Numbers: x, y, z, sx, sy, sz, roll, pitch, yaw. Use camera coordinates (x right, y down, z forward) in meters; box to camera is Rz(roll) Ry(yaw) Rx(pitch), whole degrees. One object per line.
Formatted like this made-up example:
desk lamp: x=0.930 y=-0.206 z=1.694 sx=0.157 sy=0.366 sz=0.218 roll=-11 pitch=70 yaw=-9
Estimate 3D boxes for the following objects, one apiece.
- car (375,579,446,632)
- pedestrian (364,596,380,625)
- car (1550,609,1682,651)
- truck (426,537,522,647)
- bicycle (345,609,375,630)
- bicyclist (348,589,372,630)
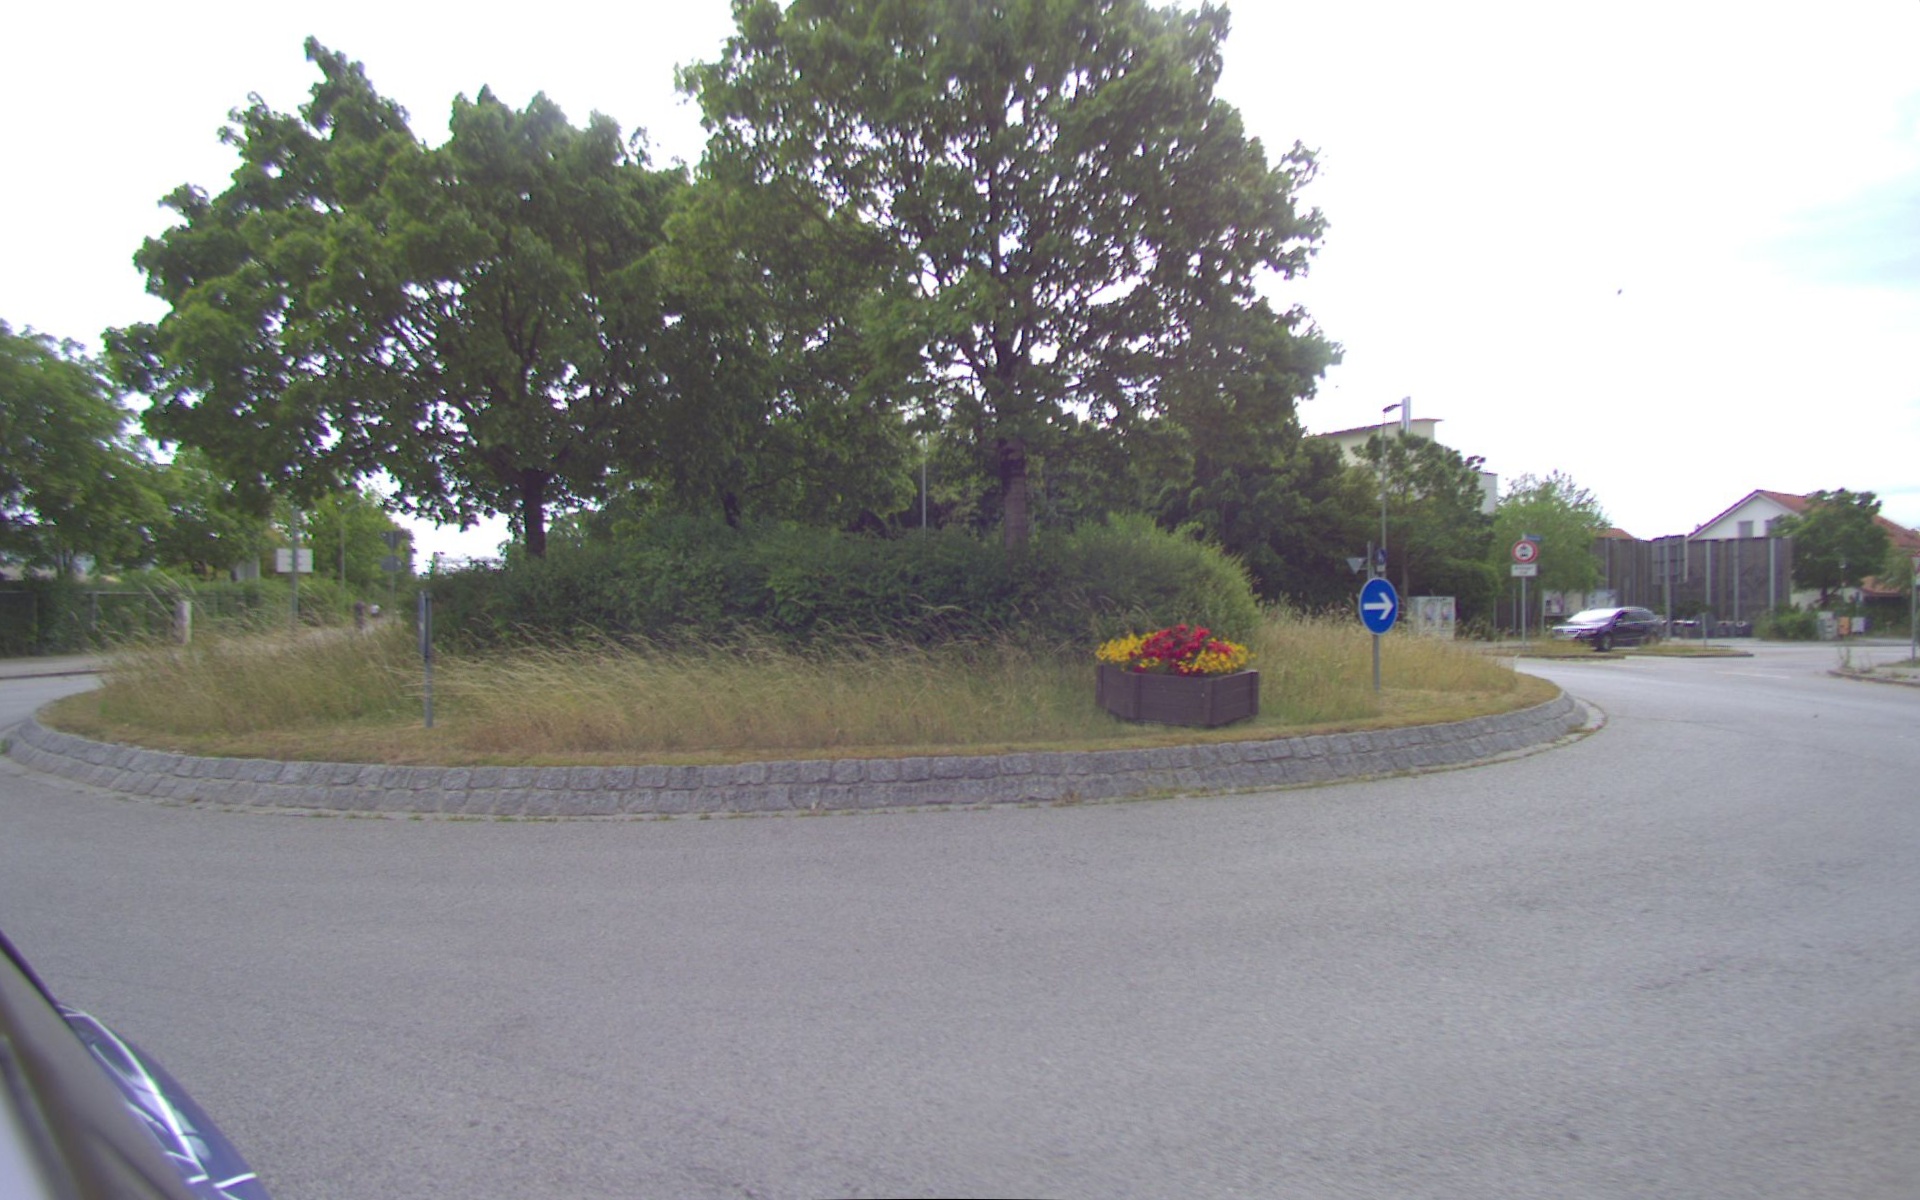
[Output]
car: x=-24.339 y=0.224 z=44.801 sx=2.571 sy=2.142 sz=5.741 roll=-1 pitch=0 yaw=-29
pedestrian: x=-31.155 y=0.553 z=53.607 sx=0.537 sy=1.542 sz=0.845 roll=1 pitch=-1 yaw=-45
car: x=22.185 y=0.980 z=34.206 sx=4.744 sy=1.300 sz=1.563 roll=0 pitch=0 yaw=-27
truck: x=-17.326 y=-0.259 z=35.813 sx=2.571 sy=3.474 sz=7.530 roll=-1 pitch=0 yaw=-29
bicycle: x=-27.498 y=0.903 z=46.359 sx=0.950 sy=0.882 sz=2.502 roll=3 pitch=-2 yaw=-34
bicyclist: x=-27.432 y=0.444 z=46.264 sx=0.798 sy=1.802 sz=0.981 roll=3 pitch=-2 yaw=-34
